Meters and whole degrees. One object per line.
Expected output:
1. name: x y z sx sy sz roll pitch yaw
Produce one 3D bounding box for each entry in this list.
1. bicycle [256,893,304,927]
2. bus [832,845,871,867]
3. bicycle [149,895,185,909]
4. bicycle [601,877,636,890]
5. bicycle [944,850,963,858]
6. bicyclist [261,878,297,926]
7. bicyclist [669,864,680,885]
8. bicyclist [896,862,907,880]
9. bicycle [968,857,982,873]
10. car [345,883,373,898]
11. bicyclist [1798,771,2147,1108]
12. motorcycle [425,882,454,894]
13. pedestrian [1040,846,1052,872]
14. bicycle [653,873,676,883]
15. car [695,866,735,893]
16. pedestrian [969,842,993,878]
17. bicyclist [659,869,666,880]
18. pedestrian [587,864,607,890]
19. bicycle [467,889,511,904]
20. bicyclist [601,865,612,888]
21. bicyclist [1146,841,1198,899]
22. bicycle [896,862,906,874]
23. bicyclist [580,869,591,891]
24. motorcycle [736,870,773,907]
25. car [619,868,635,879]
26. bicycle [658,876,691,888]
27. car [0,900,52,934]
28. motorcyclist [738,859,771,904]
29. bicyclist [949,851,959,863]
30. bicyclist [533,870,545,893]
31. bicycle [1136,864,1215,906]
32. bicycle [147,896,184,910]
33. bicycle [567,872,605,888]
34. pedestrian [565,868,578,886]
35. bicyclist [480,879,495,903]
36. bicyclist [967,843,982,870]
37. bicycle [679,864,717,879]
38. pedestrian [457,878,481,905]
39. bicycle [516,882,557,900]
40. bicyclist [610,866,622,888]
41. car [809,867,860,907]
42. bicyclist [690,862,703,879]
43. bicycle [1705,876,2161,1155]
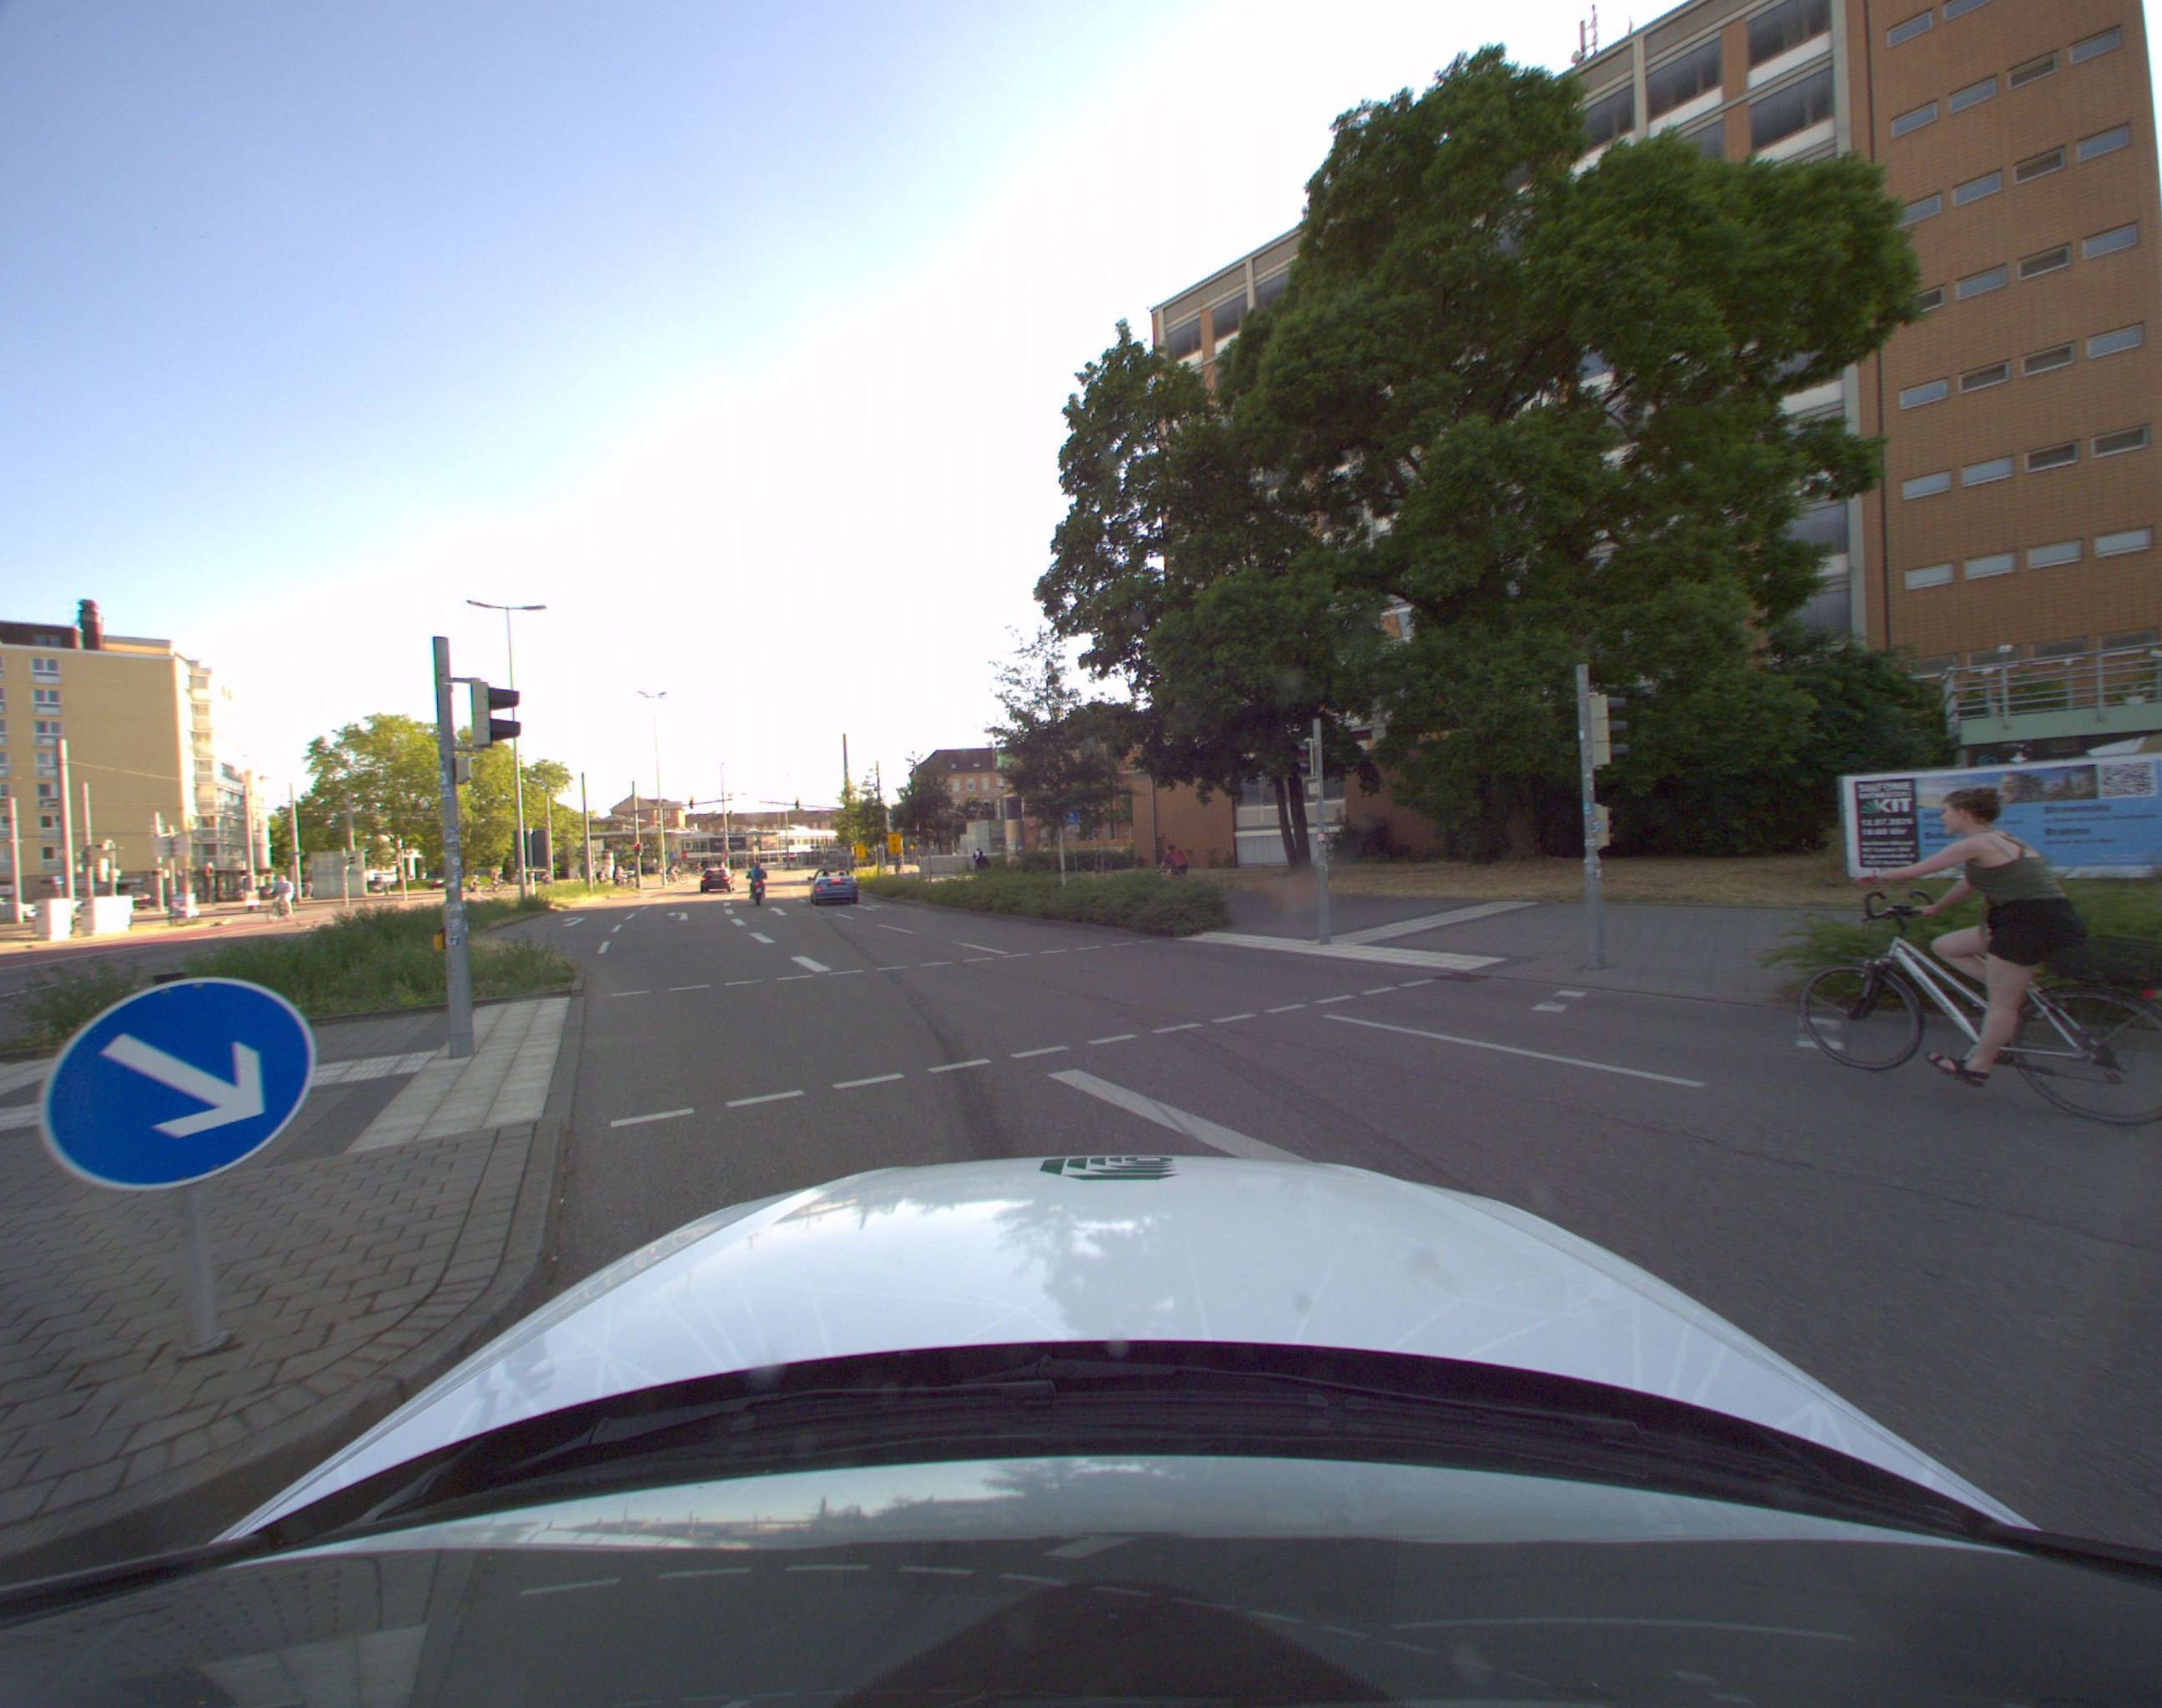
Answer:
1. bicycle: -31.978 2.211 32.547 0.745 1.255 2.531 -3 0 -31
2. bus: -34.555 0.249 122.971 2.343 2.882 9.591 -1 2 4
3. bicycle: -83.327 4.412 74.271 2.059 1.090 0.768 -3 1 -38
4. bicycle: -37.517 2.387 66.081 2.315 0.905 0.850 -3 2 -38
5. bicycle: -17.830 0.019 114.125 2.456 1.003 0.953 -3 1 -35
6. bicyclist: -31.955 1.899 32.475 0.745 1.832 1.003 -3 -1 -31
7. bicyclist: -33.709 1.725 67.590 0.654 1.690 0.851 -2 2 -34
8. bicyclist: -16.200 1.533 73.408 0.790 1.593 0.943 -5 0 -11
9. bicycle: -7.324 0.775 56.285 0.789 1.038 1.956 -5 0 -11
10. car: -82.031 4.122 92.574 1.861 1.452 3.957 -3 0 -35
11. bicyclist: 5.075 0.421 4.721 0.778 1.677 1.089 -3 1 -12
12. motorcycle: -67.309 3.597 85.492 2.300 1.054 0.680 -3 2 -32
13. pedestrian: -2.230 0.300 51.862 0.721 1.659 0.718 -1 0 0
14. bicycle: -48.800 2.832 95.350 2.310 0.959 0.852 -4 3 -29
15. car: -21.967 1.513 49.000 1.806 1.444 3.953 -1 0 -19
16. pedestrian: -4.784 0.275 38.977 0.810 1.658 0.783 -5 2 -25
17. bicyclist: -48.932 2.394 95.262 0.717 1.143 0.830 -2 2 -29
18. pedestrian: -32.680 1.540 55.016 0.690 1.671 0.834 -3 0 32
19. bicycle: -43.732 3.123 60.156 2.514 0.874 0.850 -3 2 -40
20. bicyclist: -38.164 1.834 65.550 0.587 1.777 0.857 -3 0 -38
21. bicyclist: 2.225 0.398 20.036 0.724 1.384 1.065 -2 -1 -30
22. bicycle: -16.255 1.283 73.553 0.789 1.038 1.956 -5 0 -11
23. bicyclist: -40.141 2.088 66.003 0.654 1.690 0.851 -3 2 -37
24. motorcycle: -12.965 1.341 32.415 1.099 1.377 2.637 -2 0 -18
25. car: -75.480 3.229 135.510 2.003 1.534 3.968 -2 2 -25
26. bicycle: -33.707 2.314 67.590 2.313 0.905 0.851 -3 2 -34
27. car: -72.755 4.300 54.911 3.765 2.013 1.977 -3 2 -39
28. motorcyclist: -12.945 1.090 32.359 1.099 1.721 0.931 -2 -1 -18
29. bicyclist: -17.786 0.460 114.108 0.930 1.559 0.953 -3 0 -34
30. bicyclist: -42.032 2.101 63.113 0.653 1.690 0.852 -2 2 -30
31. bicycle: 2.275 0.762 19.965 0.724 0.952 2.228 -2 -1 -30
32. bicycle: -82.772 4.418 73.640 2.059 1.090 0.768 -3 1 -38
33. bicycle: -40.112 2.095 66.021 2.513 1.133 0.850 -3 2 -37
34. pedestrian: -56.519 2.541 90.398 0.993 1.816 0.914 -2 2 -21
35. bicyclist: -43.809 2.723 60.088 0.751 1.690 0.850 -3 2 -40
36. bicyclist: -7.348 0.178 56.128 0.787 1.786 0.890 -5 0 -11
37. bicycle: -47.123 2.156 100.174 4.019 1.689 1.126 -3 2 -37
38. pedestrian: -39.497 2.413 52.604 1.099 1.606 0.692 -2 2 -30
39. bicycle: -42.142 2.860 63.054 2.509 1.133 0.852 -2 2 -31
40. bicyclist: -37.676 1.843 65.959 0.654 1.690 0.850 -3 2 -38
41. car: -9.851 1.264 32.611 1.805 1.444 3.955 -1 0 -17
42. bicyclist: -47.251 2.027 100.073 1.079 1.900 1.110 -3 2 -37
43. bicycle: 5.083 0.766 4.778 0.778 1.156 2.282 -3 1 -11
